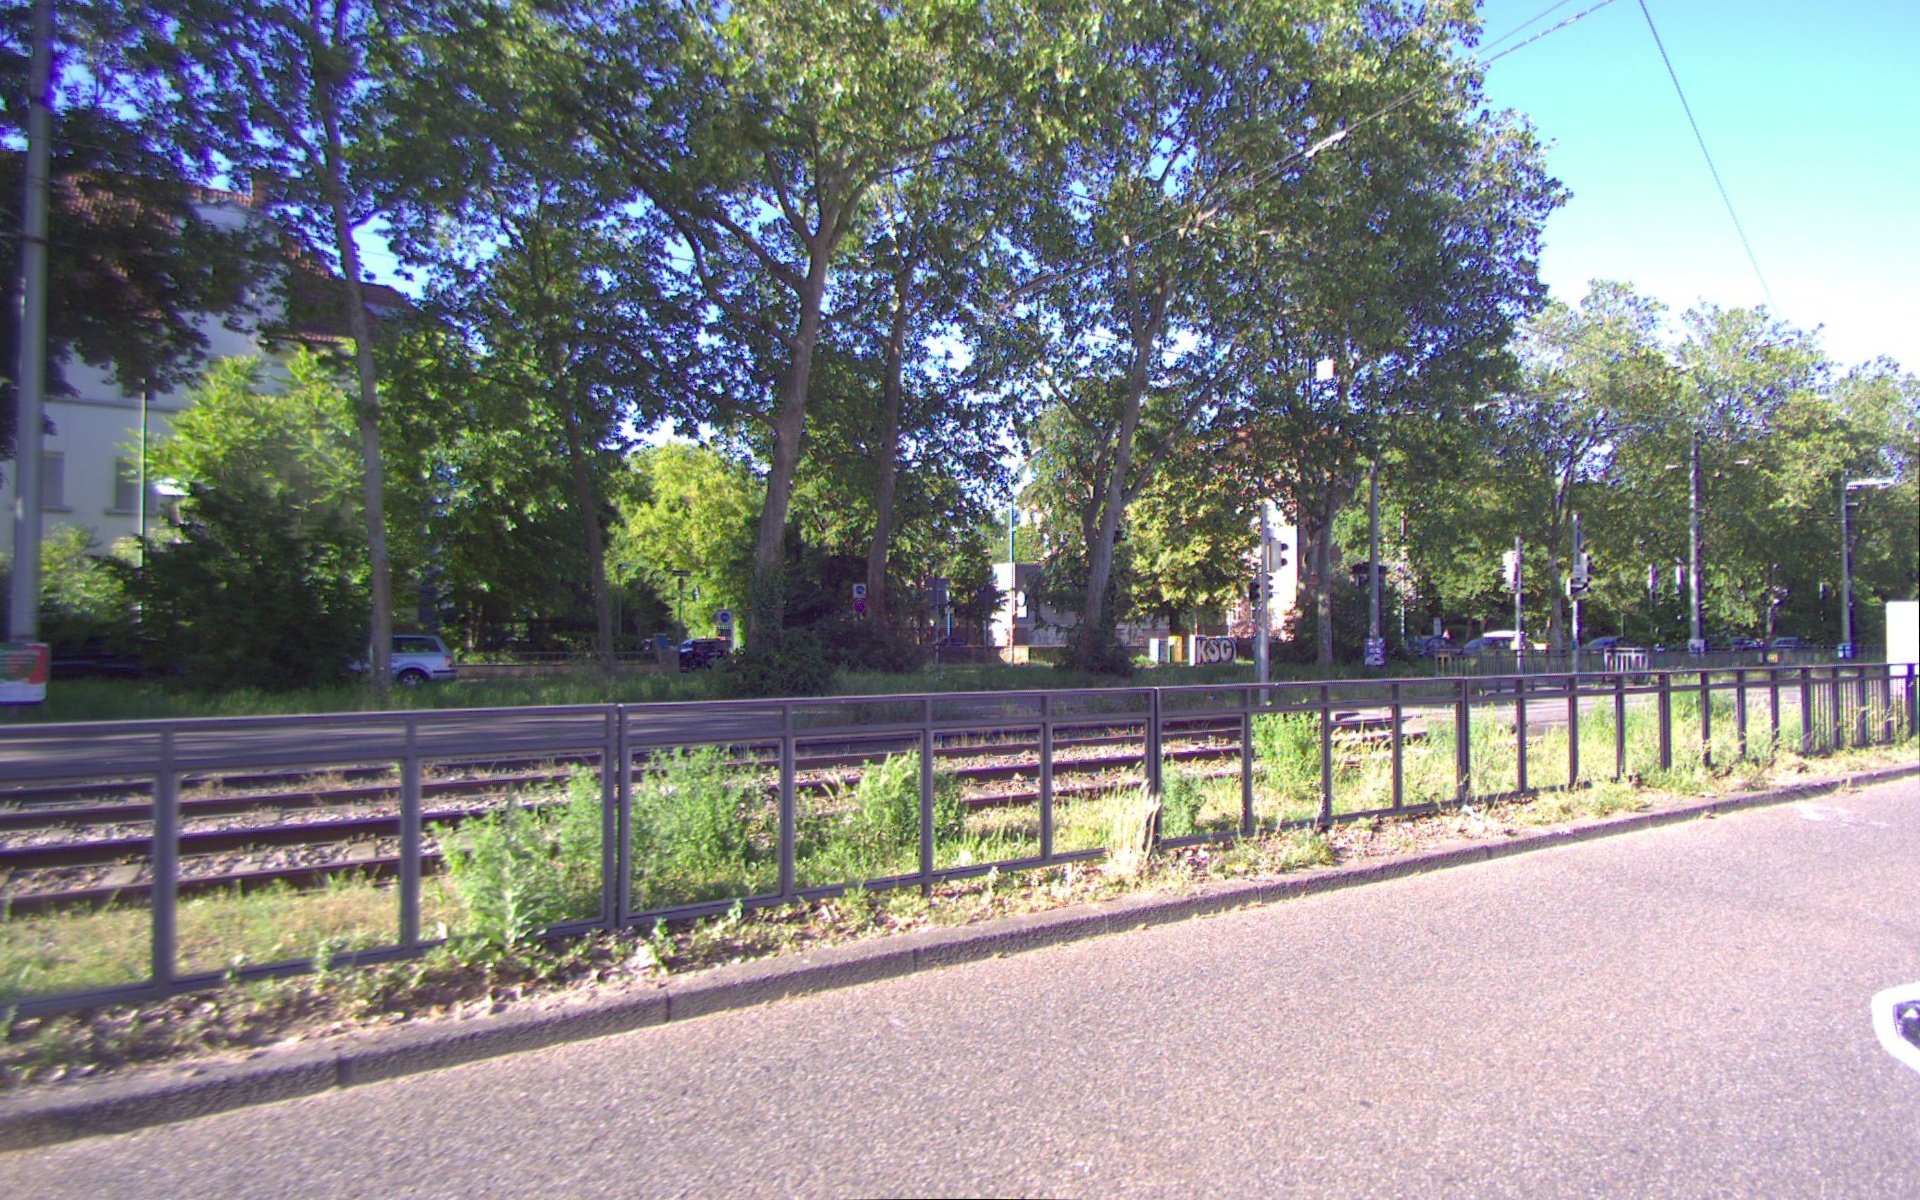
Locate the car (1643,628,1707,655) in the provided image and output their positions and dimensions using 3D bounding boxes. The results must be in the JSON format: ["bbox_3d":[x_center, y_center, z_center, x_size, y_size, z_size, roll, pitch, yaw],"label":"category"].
[{"bbox_3d":[41.779,2.401,58.679,4.099,1.529,1.660,1,-1,-32],"label":"car"}]

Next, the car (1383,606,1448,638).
[{"bbox_3d":[29.867,1.472,65.834,3.953,2.040,1.984,1,-1,-31],"label":"car"}]

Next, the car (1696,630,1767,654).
[{"bbox_3d":[47.564,2.612,61.905,4.796,1.366,1.925,2,-2,-32],"label":"car"}]

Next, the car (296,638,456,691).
[{"bbox_3d":[-13.715,1.486,23.647,3.184,1.131,1.463,1,-1,-34],"label":"car"}]

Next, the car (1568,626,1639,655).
[{"bbox_3d":[34.722,2.161,54.174,4.099,1.529,1.660,1,-2,-32],"label":"car"}]

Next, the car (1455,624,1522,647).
[{"bbox_3d":[35.431,2.351,67.403,1.375,1.514,3.974,1,-1,-26],"label":"car"}]

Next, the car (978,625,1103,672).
[{"bbox_3d":[2.759,1.613,34.090,4.099,1.529,1.660,1,-1,-32],"label":"car"}]
